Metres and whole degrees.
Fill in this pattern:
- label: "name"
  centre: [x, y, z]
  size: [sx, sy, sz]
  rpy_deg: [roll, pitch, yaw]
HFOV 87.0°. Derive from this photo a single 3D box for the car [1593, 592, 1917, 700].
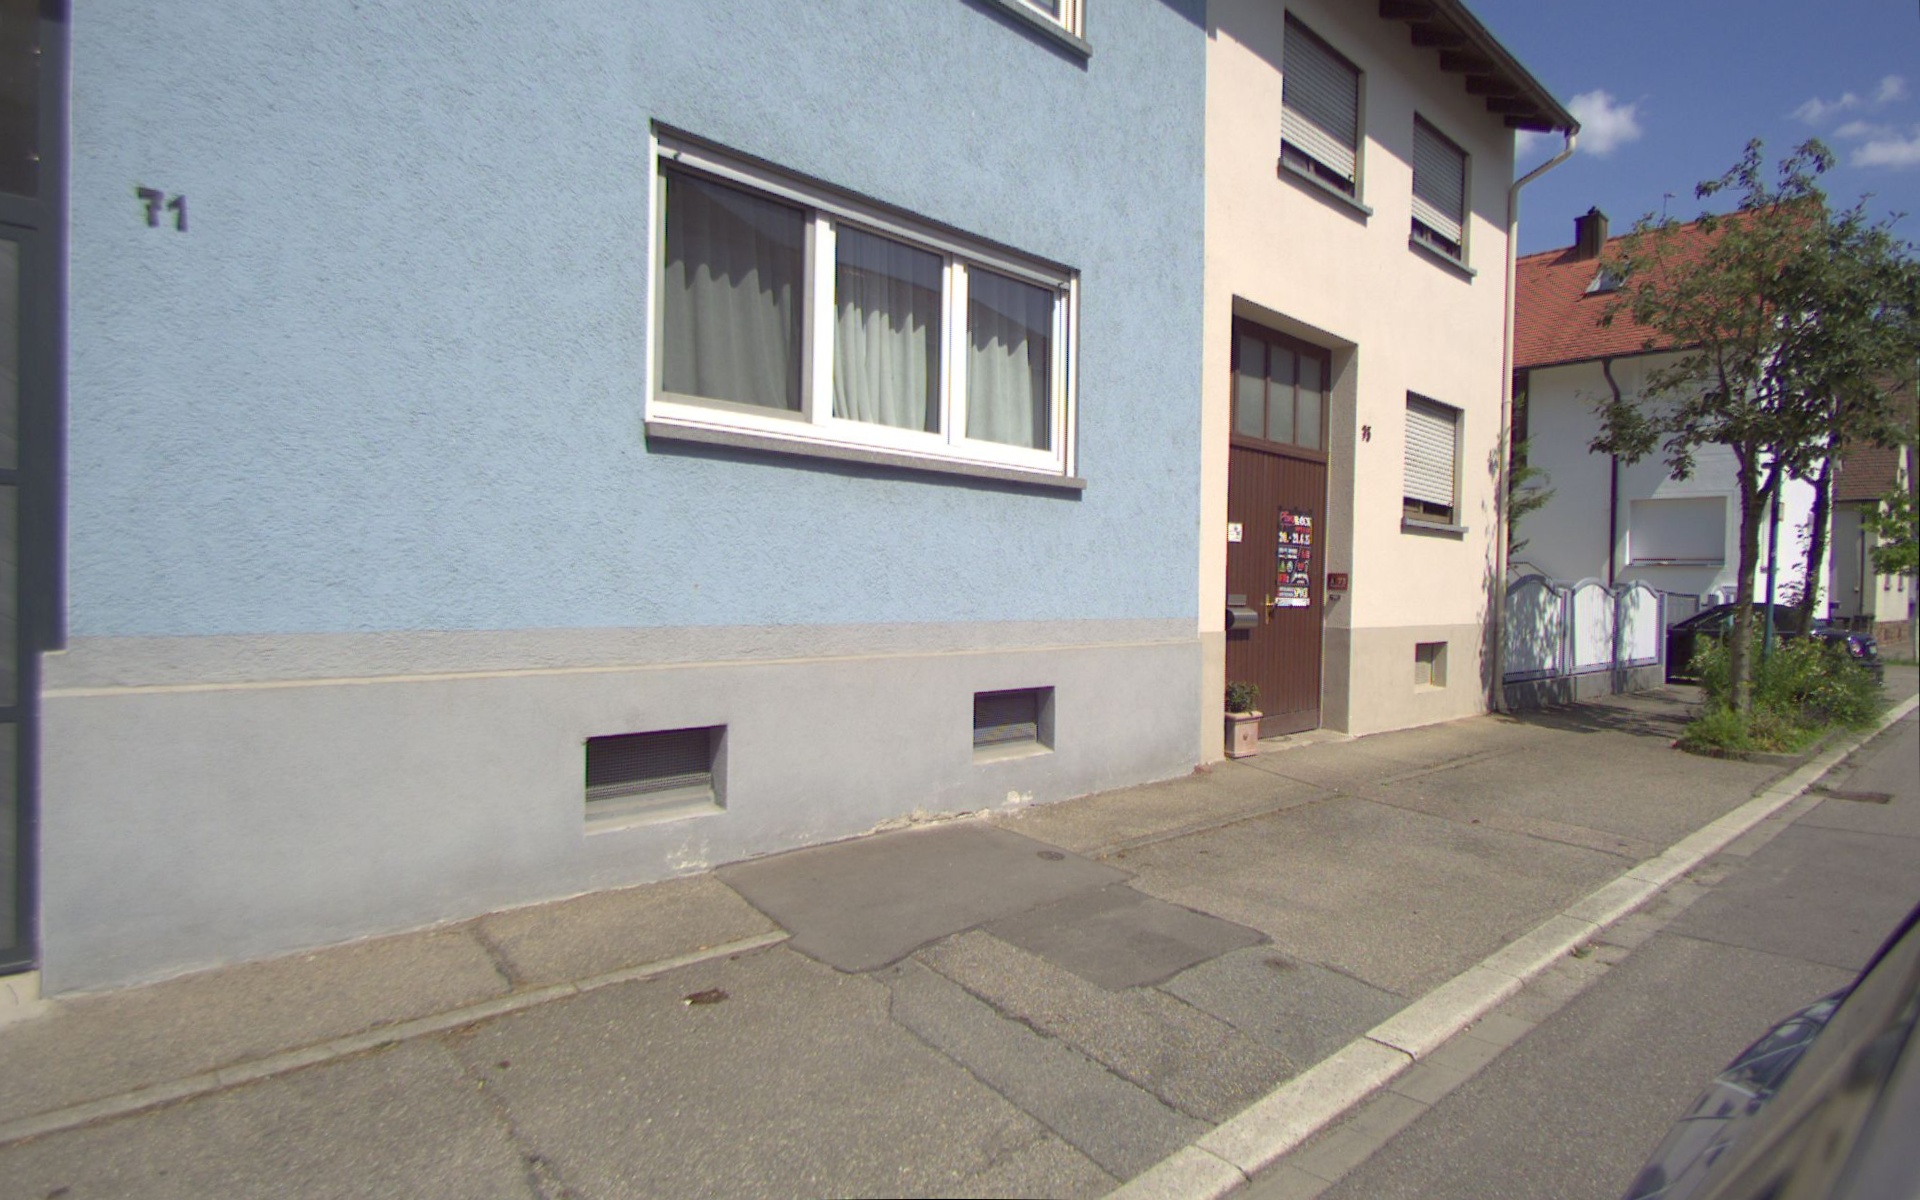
- label: "car"
  centre: [12.696, 0.634, 16.375]
  size: [1.696, 1.446, 3.817]
  rpy_deg: [0, 1, -37]
